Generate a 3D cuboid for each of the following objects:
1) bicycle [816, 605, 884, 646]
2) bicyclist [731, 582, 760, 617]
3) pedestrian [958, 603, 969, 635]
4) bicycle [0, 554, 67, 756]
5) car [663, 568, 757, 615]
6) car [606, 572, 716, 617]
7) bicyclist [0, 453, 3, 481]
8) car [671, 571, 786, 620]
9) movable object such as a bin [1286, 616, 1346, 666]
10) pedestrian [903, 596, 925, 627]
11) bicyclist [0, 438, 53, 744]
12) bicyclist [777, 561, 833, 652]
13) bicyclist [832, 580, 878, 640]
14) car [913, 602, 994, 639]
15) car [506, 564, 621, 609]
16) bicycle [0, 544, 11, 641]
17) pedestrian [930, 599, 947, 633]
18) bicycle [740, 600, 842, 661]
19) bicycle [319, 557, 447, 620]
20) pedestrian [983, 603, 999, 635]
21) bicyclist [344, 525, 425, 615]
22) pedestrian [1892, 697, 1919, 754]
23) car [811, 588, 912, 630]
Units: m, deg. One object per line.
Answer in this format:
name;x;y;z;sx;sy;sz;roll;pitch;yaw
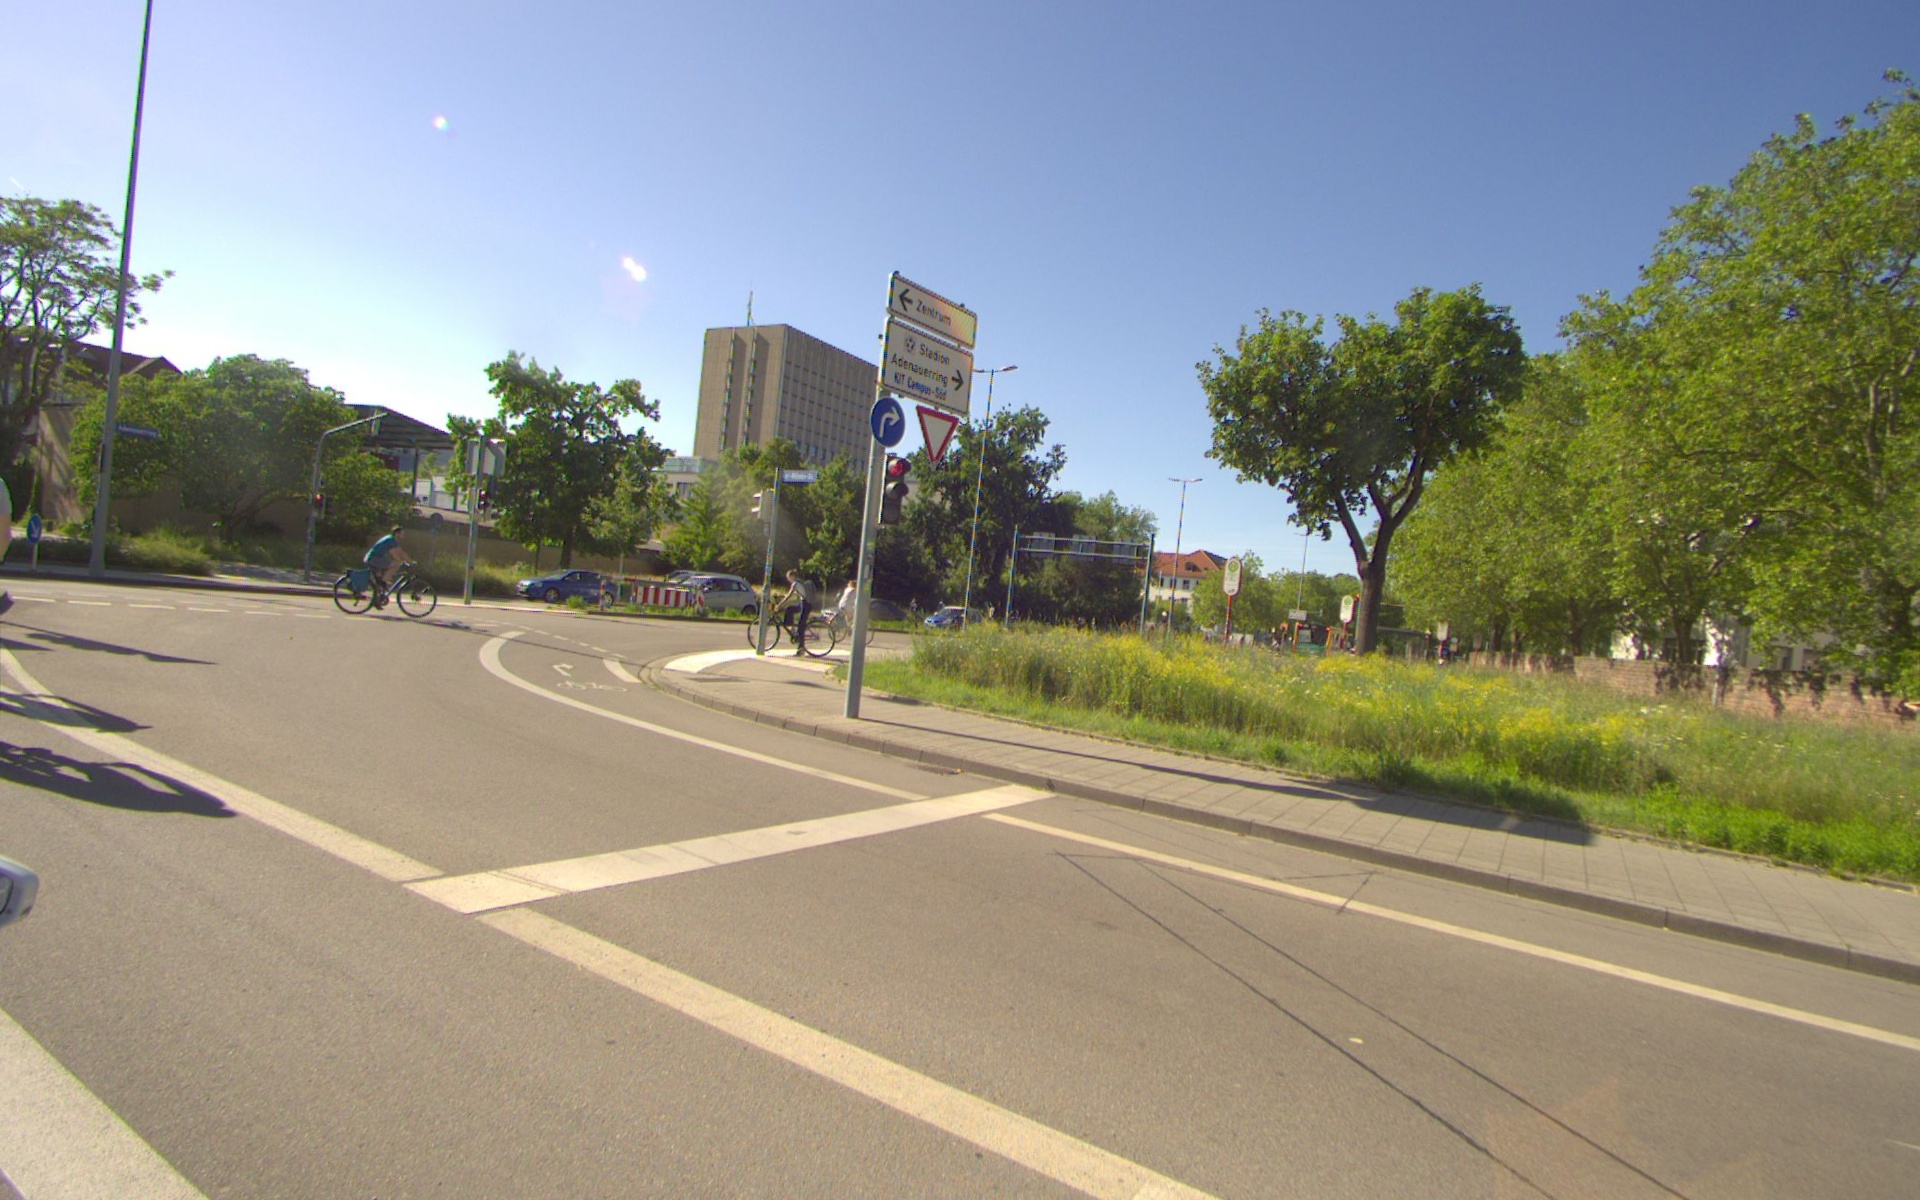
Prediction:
bicycle;-2.963;0.702;27.276;0.514;1.000;1.965;7;1;39
bicyclist;-8.951;-0.026;41.933;0.602;1.360;0.874;7;1;37
pedestrian;0.264;1.459;78.679;0.402;2.451;0.467;6;-1;34
bicycle;-6.265;0.238;6.093;1.890;1.102;0.690;6;-1;32
car;-11.843;-0.370;47.799;1.767;1.771;3.986;7;0;37
car;-12.300;-0.203;41.573;1.767;1.415;3.986;7;0;37
bicyclist;-8.153;-0.414;7.800;1.123;1.614;0.679;7;0;32
car;-8.741;-0.133;38.292;1.767;1.415;3.986;7;0;37
movable object such as a bin;26.272;2.905;73.969;2.954;2.903;9.166;7;3;25
pedestrian;-3.282;0.829;72.424;0.752;2.039;1.267;7;1;36
bicyclist;-6.261;-0.113;6.113;1.123;1.813;0.684;7;0;32
bicyclist;-3.039;0.121;19.707;0.898;1.667;0.630;6;1;-9
bicyclist;-2.841;0.287;27.367;0.509;1.548;1.067;7;2;39
car;-0.295;1.047;50.459;1.916;1.415;3.986;6;0;37
car;-16.211;-0.529;41.321;1.767;1.415;3.986;7;0;37
bicycle;-8.196;0.022;7.792;1.890;1.102;0.690;6;-1;32
pedestrian;-1.597;1.178;75.478;0.660;2.451;0.770;6;-1;34
bicycle;-3.293;0.588;19.680;1.856;0.970;0.635;7;1;-10
bicycle;-10.554;-0.190;18.465;0.640;0.986;1.895;7;1;39
pedestrian;2.427;1.497;78.956;0.710;2.451;0.585;6;-1;34
bicyclist;-10.533;-0.543;18.433;0.632;1.533;1.049;7;2;39
pedestrian;25.545;3.373;26.846;0.712;1.460;0.523;7;-1;2
car;-4.310;0.432;44.632;1.767;1.415;4.557;7;0;37
